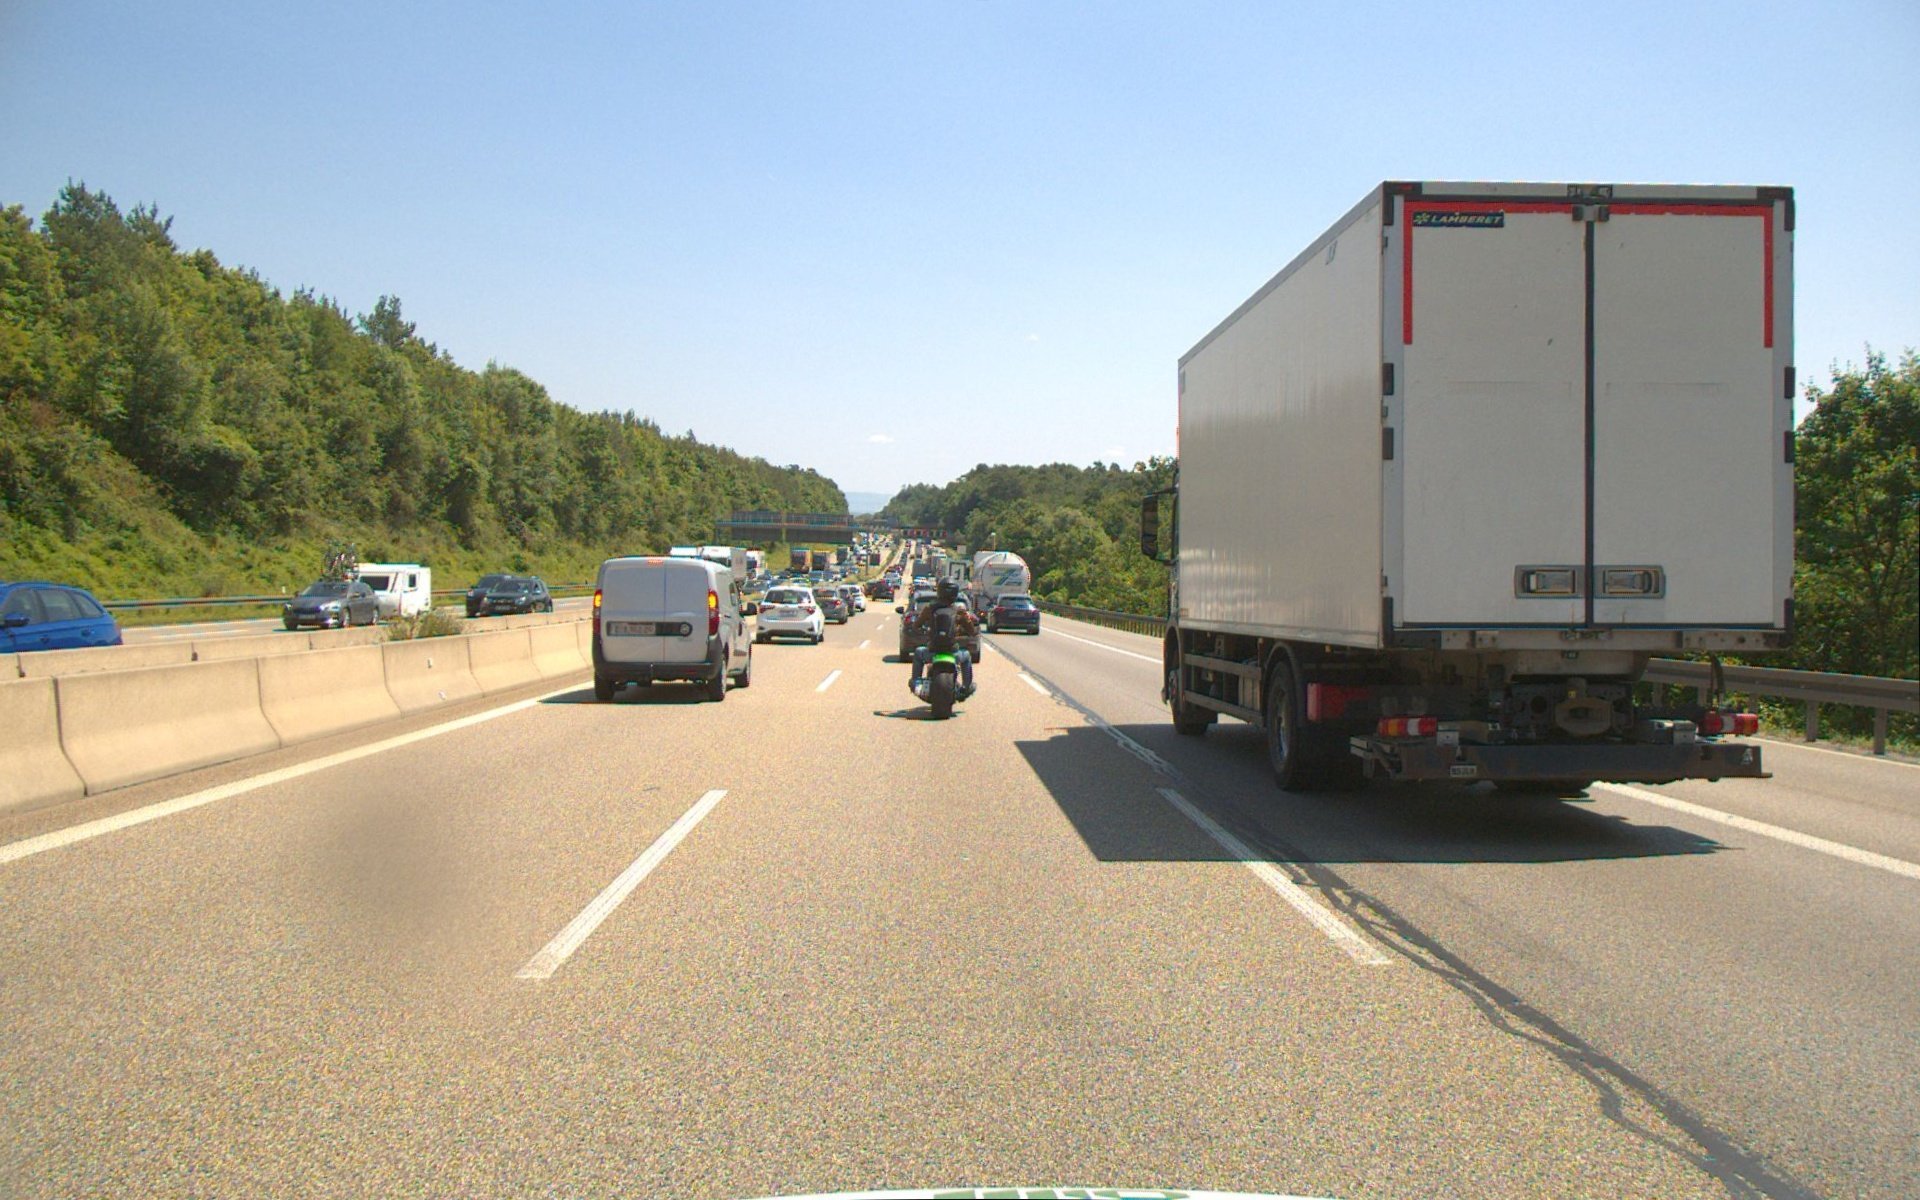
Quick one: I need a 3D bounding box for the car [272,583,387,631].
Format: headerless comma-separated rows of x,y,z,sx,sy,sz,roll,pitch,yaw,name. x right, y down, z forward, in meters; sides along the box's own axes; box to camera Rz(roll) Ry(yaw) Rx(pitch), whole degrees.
-19.141,0.190,50.435,1.764,1.370,4.722,1,0,-1,car

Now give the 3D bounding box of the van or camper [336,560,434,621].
-19.287,-0.326,55.634,2.034,2.011,3.704,0,0,-1,van or camper

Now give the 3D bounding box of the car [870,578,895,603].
-6.248,-0.802,133.802,1.842,1.892,3.999,2,1,-1,car

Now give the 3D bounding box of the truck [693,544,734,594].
-21.662,-2.688,145.697,2.783,4.287,5.658,1,0,-2,truck

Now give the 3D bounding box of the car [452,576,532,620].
-18.721,-0.085,66.383,1.886,1.668,4.926,1,0,-1,car

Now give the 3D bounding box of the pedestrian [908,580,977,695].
-0.218,0.447,20.450,0.832,1.385,0.961,0,0,0,pedestrian

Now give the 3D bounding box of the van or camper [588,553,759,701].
-3.966,0.352,23.516,1.759,1.925,4.159,0,0,-1,van or camper

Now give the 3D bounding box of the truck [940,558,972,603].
-0.503,-2.119,178.110,2.972,4.621,9.980,3,1,-2,truck

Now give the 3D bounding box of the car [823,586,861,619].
-5.902,0.094,82.756,1.665,1.504,3.999,2,1,-2,car

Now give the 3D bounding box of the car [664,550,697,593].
-26.027,-2.669,154.172,2.399,3.941,4.564,0,0,-2,car

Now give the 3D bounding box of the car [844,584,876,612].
-5.742,-0.129,95.242,1.665,1.504,3.999,2,1,-2,car

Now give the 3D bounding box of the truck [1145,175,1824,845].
3.671,-0.577,14.708,2.634,3.944,9.777,-1,0,-2,truck

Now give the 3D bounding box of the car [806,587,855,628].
-5.133,0.290,65.855,1.665,1.504,3.999,2,1,-2,car

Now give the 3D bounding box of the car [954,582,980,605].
0.523,-0.504,121.343,1.751,1.582,3.802,2,1,-2,car

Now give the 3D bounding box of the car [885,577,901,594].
-8.285,-1.773,203.945,1.890,2.049,3.999,0,0,-1,car

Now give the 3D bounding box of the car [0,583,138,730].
-11.081,0.587,18.620,1.676,1.564,4.127,0,0,-2,car

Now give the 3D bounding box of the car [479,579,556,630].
-15.513,0.149,58.158,1.658,1.712,4.195,1,0,-1,car

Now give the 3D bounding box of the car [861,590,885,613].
-7.777,0.109,148.076,1.953,2.049,3.999,0,0,-1,car

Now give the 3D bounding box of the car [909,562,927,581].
-6.140,-4.130,241.350,2.454,2.632,5.015,2,1,-2,car

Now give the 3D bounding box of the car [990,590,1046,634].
2.161,0.414,62.581,1.792,1.496,3.999,3,1,-1,car

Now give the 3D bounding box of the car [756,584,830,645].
-4.485,0.351,44.884,1.665,1.504,3.999,2,1,-2,car

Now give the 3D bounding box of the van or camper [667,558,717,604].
-16.963,-1.190,105.026,2.185,2.809,6.835,1,0,-1,van or camper

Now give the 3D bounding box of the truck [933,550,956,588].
-2.253,-4.464,239.642,2.972,5.228,9.980,3,1,-2,truck

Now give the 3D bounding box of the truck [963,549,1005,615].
1.314,-0.965,91.863,1.954,3.584,4.747,0,0,-4,truck

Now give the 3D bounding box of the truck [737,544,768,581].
-25.351,-4.551,202.270,2.745,4.238,7.600,1,0,0,truck

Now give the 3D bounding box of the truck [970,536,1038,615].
2.119,-1.167,82.791,2.927,3.735,9.285,0,0,-1,truck

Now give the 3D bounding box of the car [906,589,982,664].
-0.303,0.534,36.262,1.501,1.536,4.001,0,0,2,car

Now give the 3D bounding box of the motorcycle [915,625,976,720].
-0.173,0.861,20.400,0.677,1.033,2.121,2,0,0,motorcycle
